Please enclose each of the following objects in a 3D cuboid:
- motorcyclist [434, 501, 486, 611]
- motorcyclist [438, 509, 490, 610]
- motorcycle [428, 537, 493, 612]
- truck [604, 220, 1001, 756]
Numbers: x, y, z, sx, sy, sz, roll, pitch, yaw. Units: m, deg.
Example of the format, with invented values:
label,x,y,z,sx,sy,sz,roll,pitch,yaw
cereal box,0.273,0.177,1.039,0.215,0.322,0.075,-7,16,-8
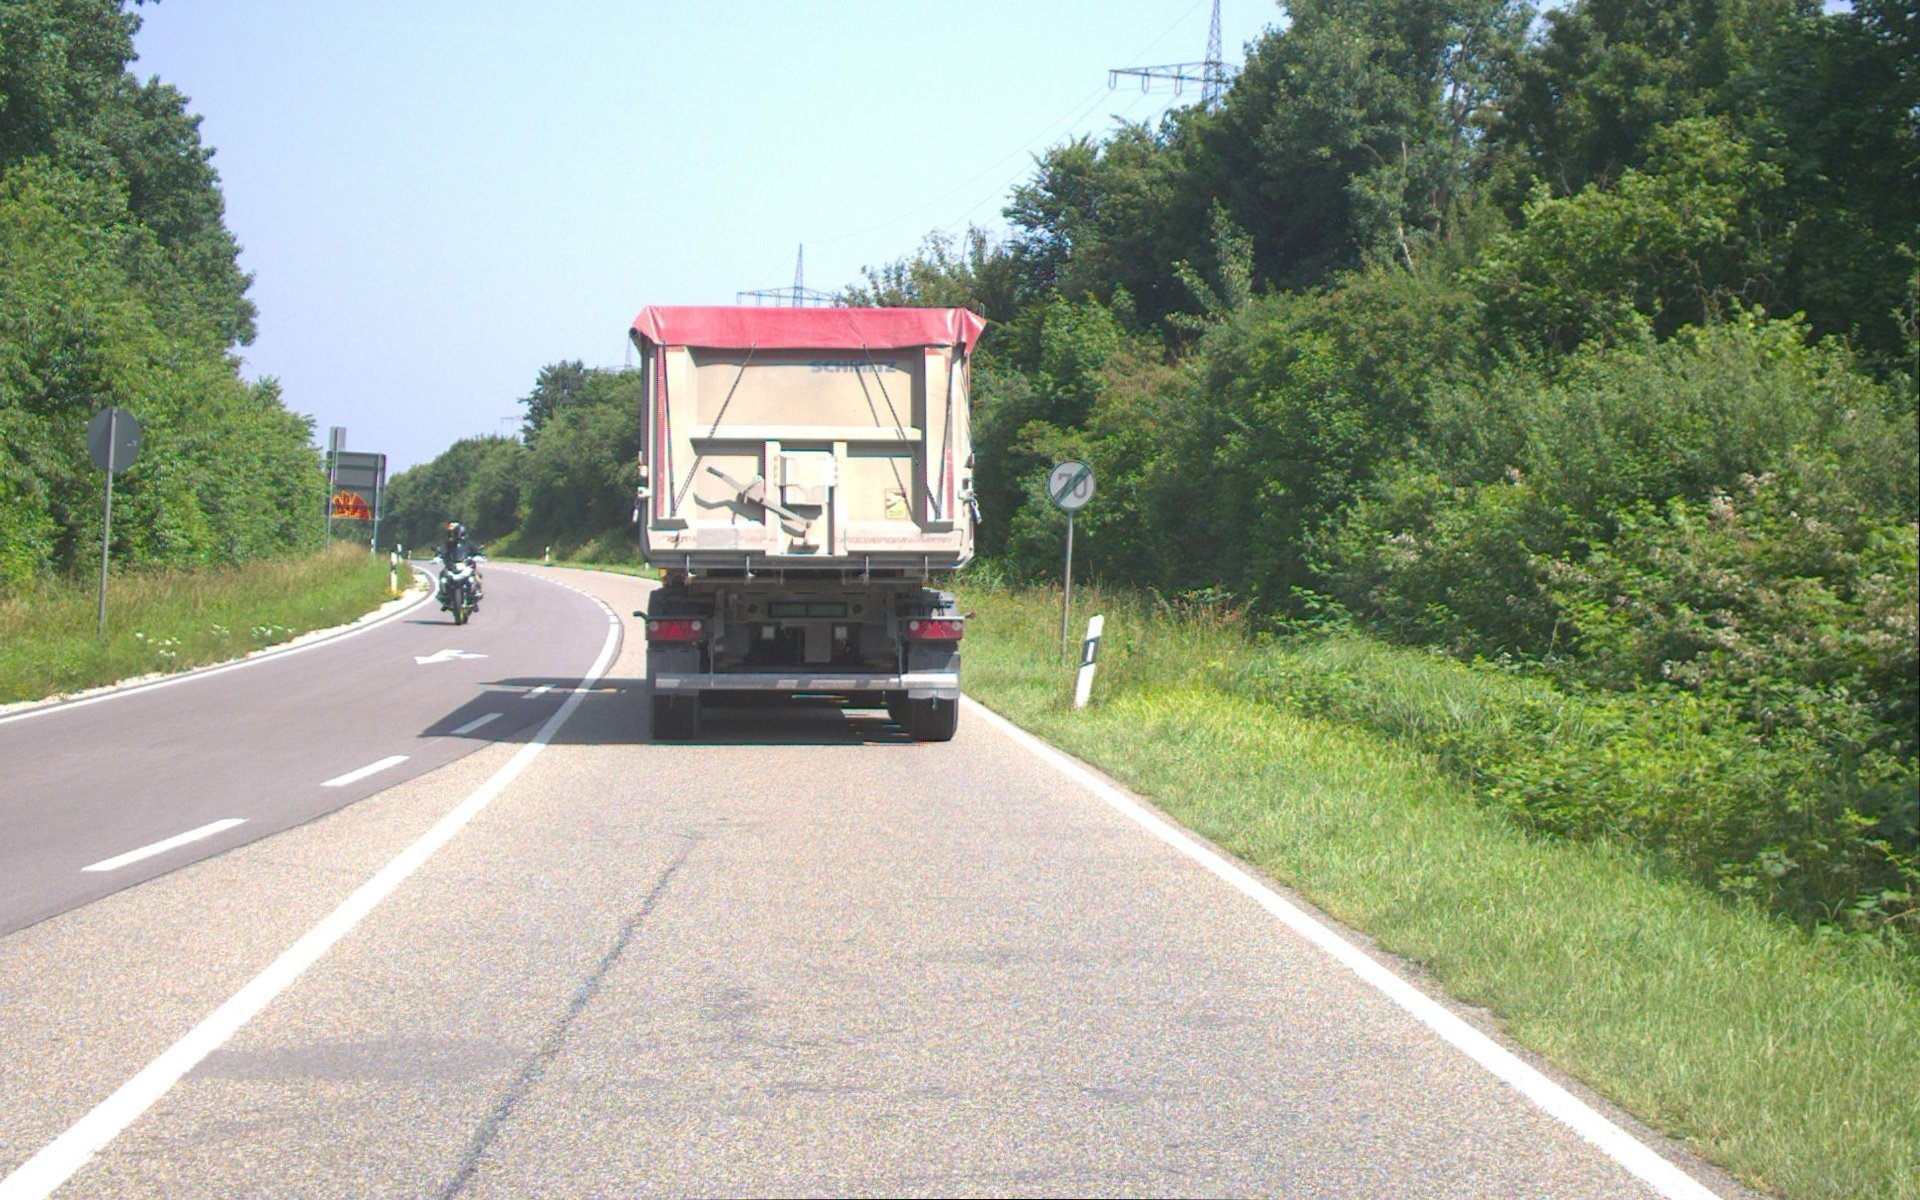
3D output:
label,x,y,z,sx,sy,sz,roll,pitch,yaw
motorcyclist,-8.636,-0.761,59.417,0.820,1.875,0.657,1,1,-5
motorcyclist,-8.666,-0.716,60.102,0.830,1.746,0.623,1,1,-5
motorcycle,-8.678,-0.453,59.801,0.946,1.246,2.682,1,1,-5
truck,-1.474,-0.969,31.621,2.893,3.949,11.934,1,1,-3
